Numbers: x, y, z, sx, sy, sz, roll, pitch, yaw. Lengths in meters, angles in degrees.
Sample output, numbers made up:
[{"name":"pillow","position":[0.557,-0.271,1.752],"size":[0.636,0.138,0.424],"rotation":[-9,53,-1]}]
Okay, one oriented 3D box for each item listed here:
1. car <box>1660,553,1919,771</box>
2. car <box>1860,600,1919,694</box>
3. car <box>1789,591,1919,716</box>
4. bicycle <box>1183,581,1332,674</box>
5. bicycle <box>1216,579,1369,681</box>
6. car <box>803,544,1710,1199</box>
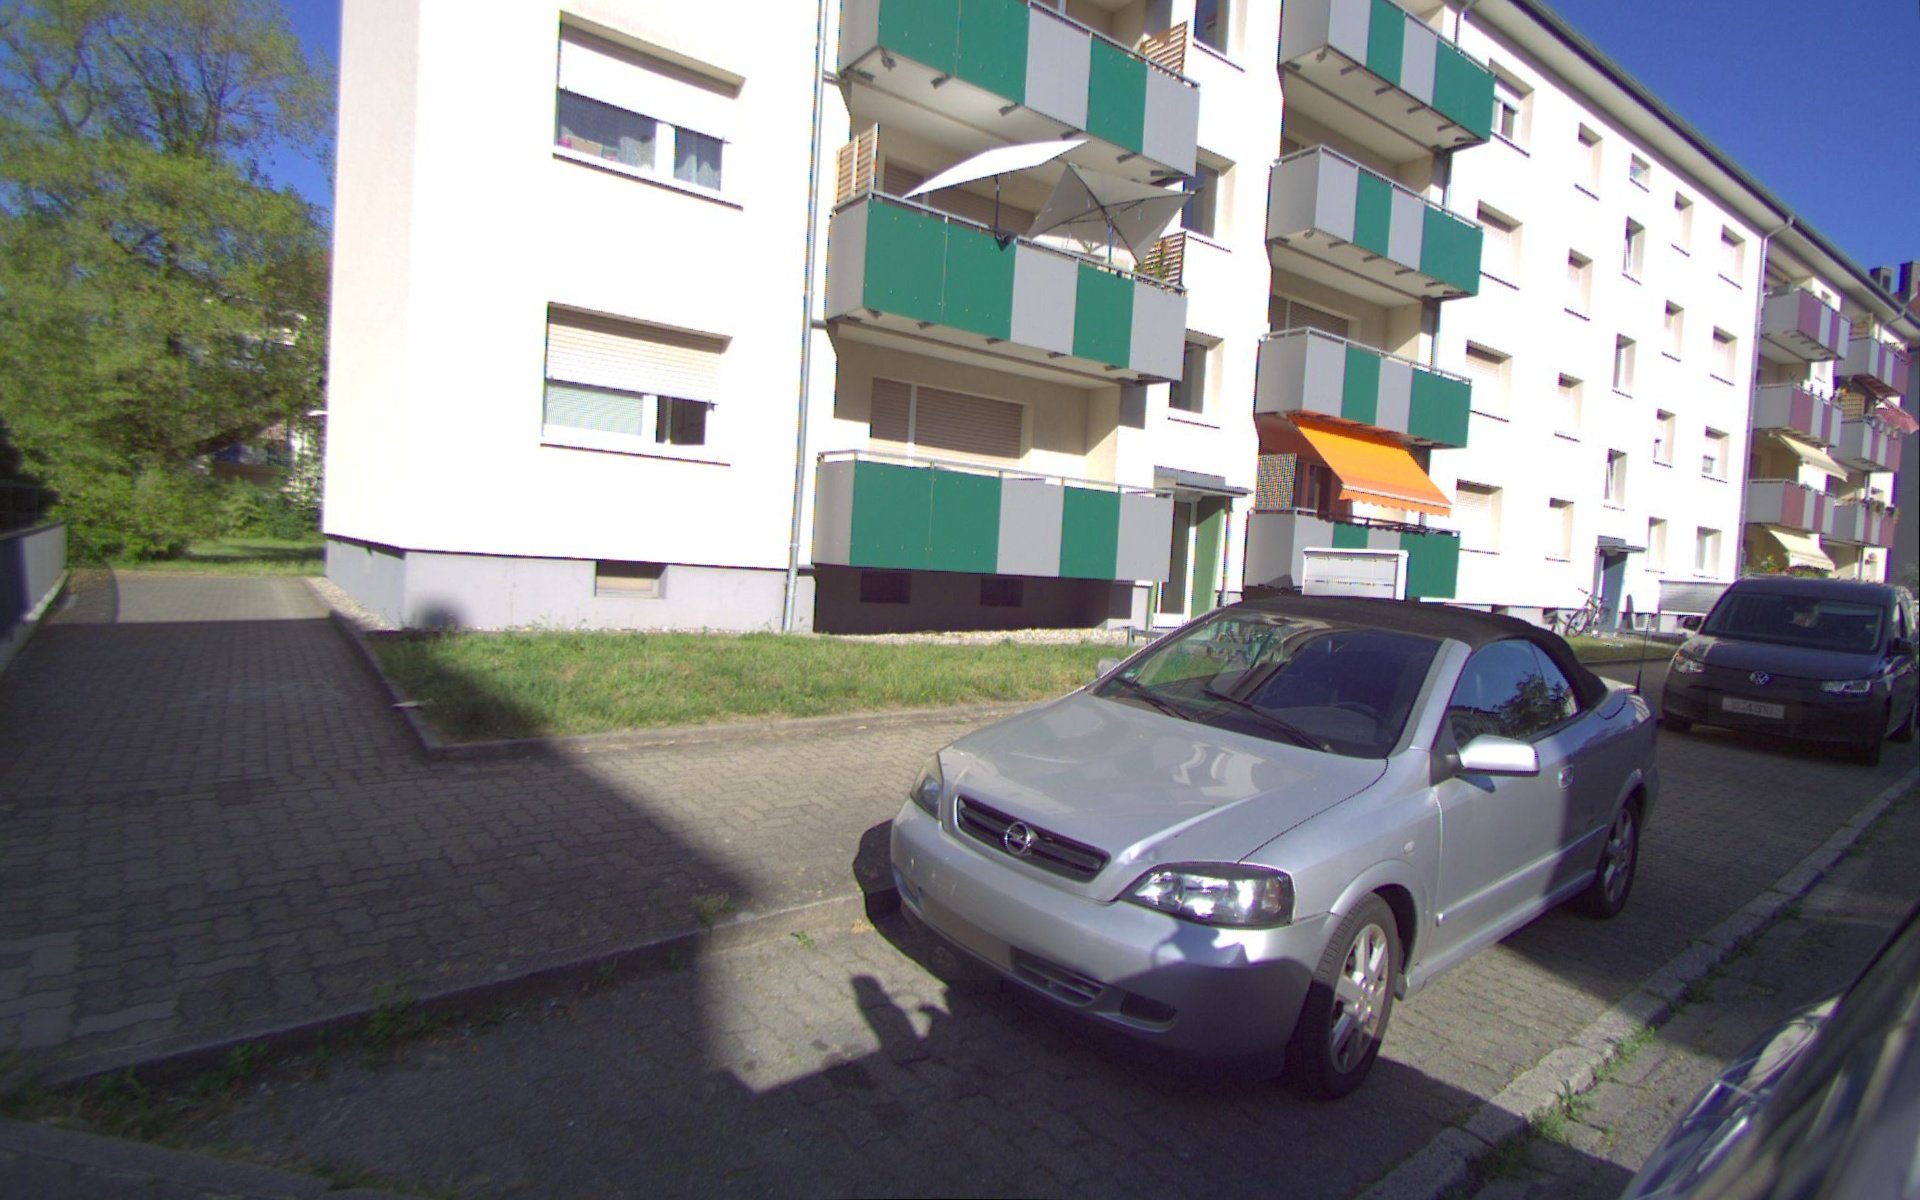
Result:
[{"name":"car","position":[9.702,0.565,11.358],"size":[4.833,1.861,1.764],"rotation":[1,5,-41]},{"name":"car","position":[17.181,0.845,17.511],"size":[3.789,1.466,1.669],"rotation":[1,4,-38]},{"name":"car","position":[13.480,0.729,14.470],"size":[3.789,1.476,1.645],"rotation":[1,4,-38]},{"name":"bicycle","position":[3.656,0.331,12.348],"size":[2.034,1.057,0.507],"rotation":[1,1,-33]},{"name":"bicycle","position":[3.918,0.344,11.853],"size":[2.034,1.106,0.507],"rotation":[1,1,-33]},{"name":"car","position":[1.621,0.624,4.388],"size":[4.240,1.423,1.746],"rotation":[1,5,-42]}]
